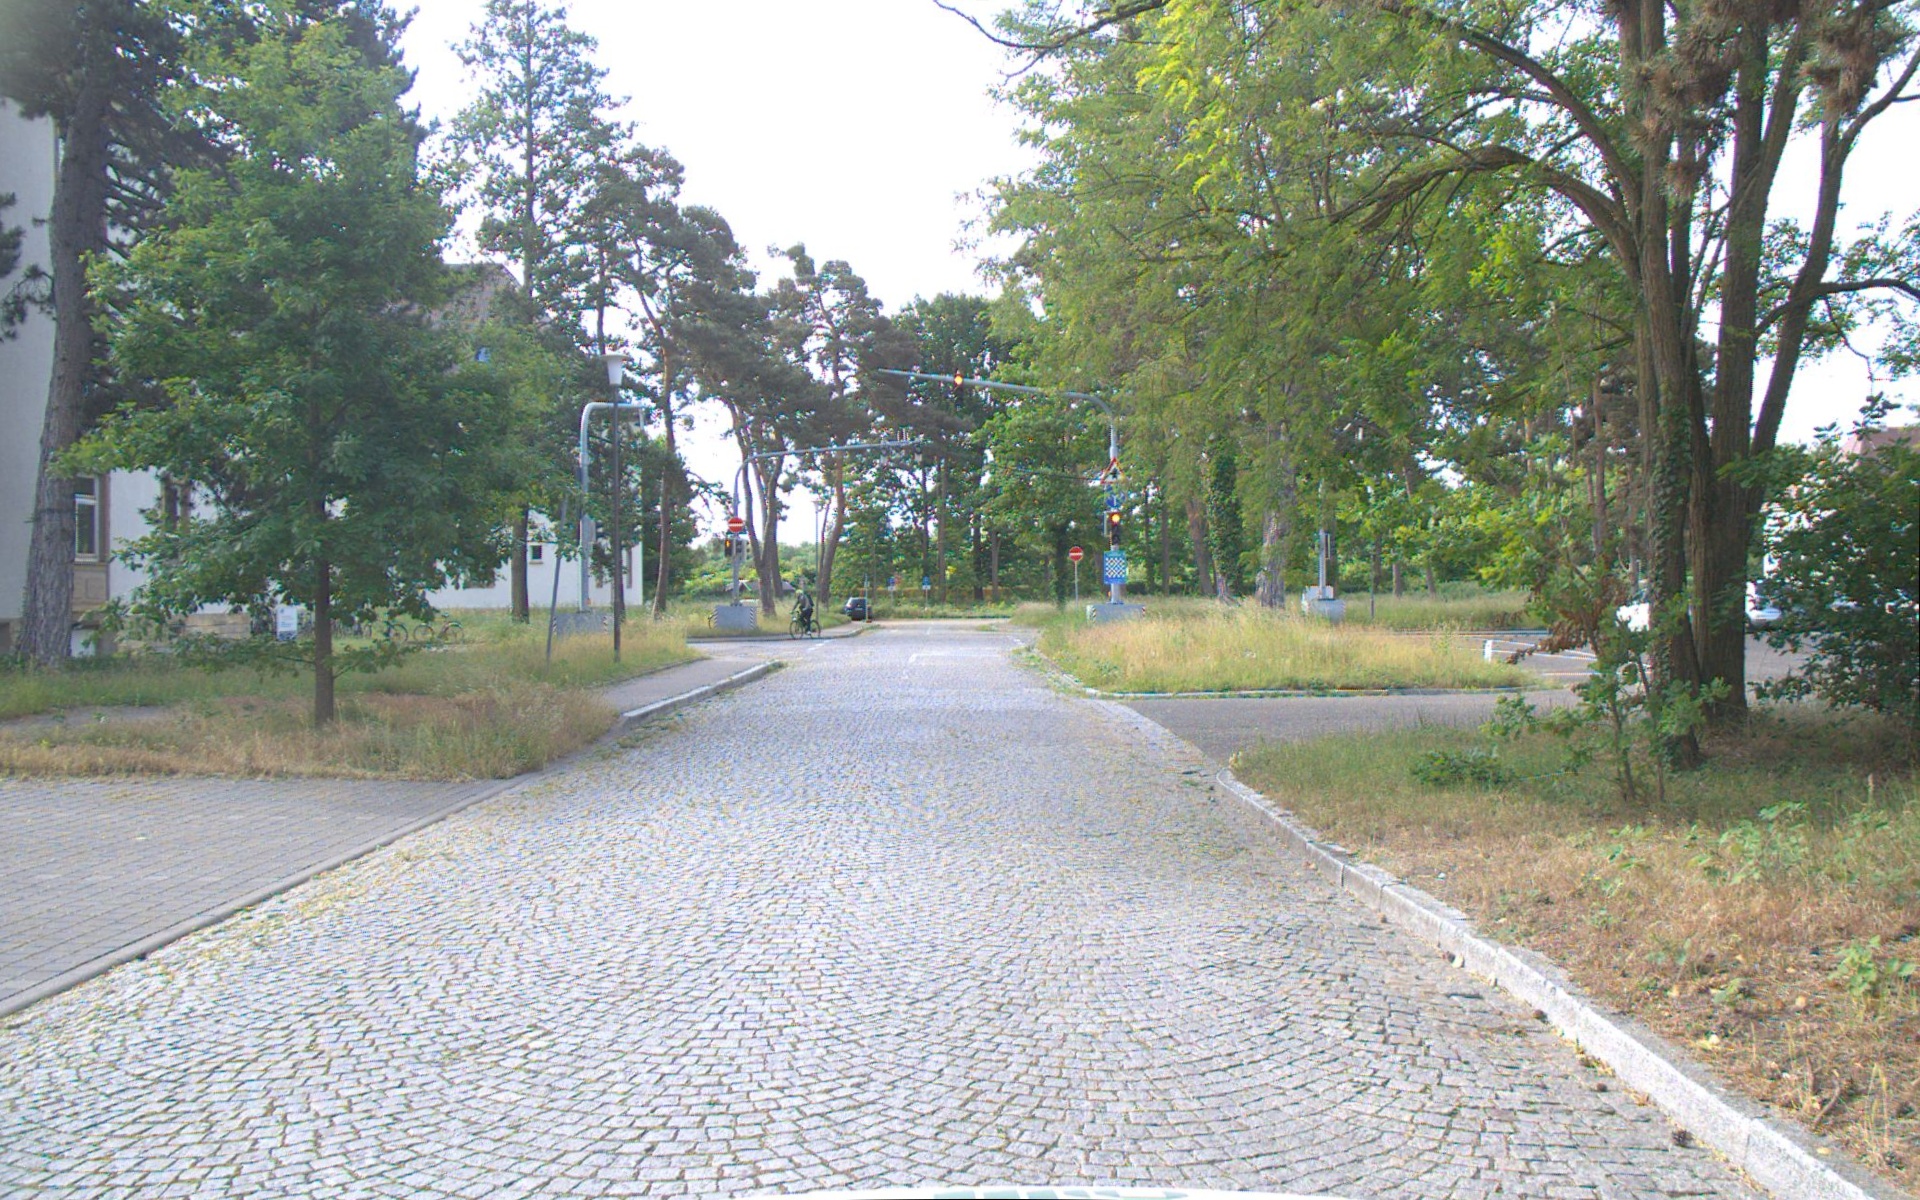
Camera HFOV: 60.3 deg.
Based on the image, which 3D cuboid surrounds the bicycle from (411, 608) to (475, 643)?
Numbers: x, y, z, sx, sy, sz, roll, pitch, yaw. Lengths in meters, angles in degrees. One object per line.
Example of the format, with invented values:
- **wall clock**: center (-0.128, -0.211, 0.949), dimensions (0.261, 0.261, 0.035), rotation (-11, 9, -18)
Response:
- **bicycle**: center (-16.904, 0.842, 54.083), dimensions (1.818, 1.095, 0.831), rotation (-1, 0, 1)

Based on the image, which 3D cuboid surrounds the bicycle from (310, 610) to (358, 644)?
- **bicycle**: center (-20.858, 0.891, 55.152), dimensions (0.721, 1.095, 2.273), rotation (-1, 0, 0)

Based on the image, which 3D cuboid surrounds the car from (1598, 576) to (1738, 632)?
- **car**: center (20.656, 0.153, 48.484), dimensions (1.954, 1.507, 4.421), rotation (-1, -1, -4)

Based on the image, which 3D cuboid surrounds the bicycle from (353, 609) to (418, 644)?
- **bicycle**: center (-18.754, 0.853, 54.015), dimensions (1.818, 1.095, 0.738), rotation (-1, 0, 1)

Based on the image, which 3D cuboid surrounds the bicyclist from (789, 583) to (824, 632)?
- **bicyclist**: center (-5.431, 0.269, 58.539), dimensions (0.934, 1.727, 0.923), rotation (-1, -1, 21)

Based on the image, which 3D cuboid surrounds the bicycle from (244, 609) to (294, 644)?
- **bicycle**: center (-23.007, 0.872, 55.089), dimensions (0.721, 1.095, 2.273), rotation (-1, 0, 0)

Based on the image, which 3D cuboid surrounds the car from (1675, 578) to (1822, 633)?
- **car**: center (23.121, 0.186, 48.704), dimensions (1.954, 1.507, 4.421), rotation (-1, -1, -4)

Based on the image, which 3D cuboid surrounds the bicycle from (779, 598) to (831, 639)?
- **bicycle**: center (-5.456, 0.644, 58.441), dimensions (0.916, 1.411, 2.186), rotation (-1, 0, 21)

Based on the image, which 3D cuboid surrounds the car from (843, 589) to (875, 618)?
- **car**: center (-6.793, 0.237, 111.577), dimensions (2.014, 1.878, 3.999), rotation (-1, 0, -2)

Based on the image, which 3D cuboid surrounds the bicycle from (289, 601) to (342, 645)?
- **bicycle**: center (-21.594, 0.748, 55.495), dimensions (0.721, 1.410, 2.711), rotation (-1, 0, 0)
